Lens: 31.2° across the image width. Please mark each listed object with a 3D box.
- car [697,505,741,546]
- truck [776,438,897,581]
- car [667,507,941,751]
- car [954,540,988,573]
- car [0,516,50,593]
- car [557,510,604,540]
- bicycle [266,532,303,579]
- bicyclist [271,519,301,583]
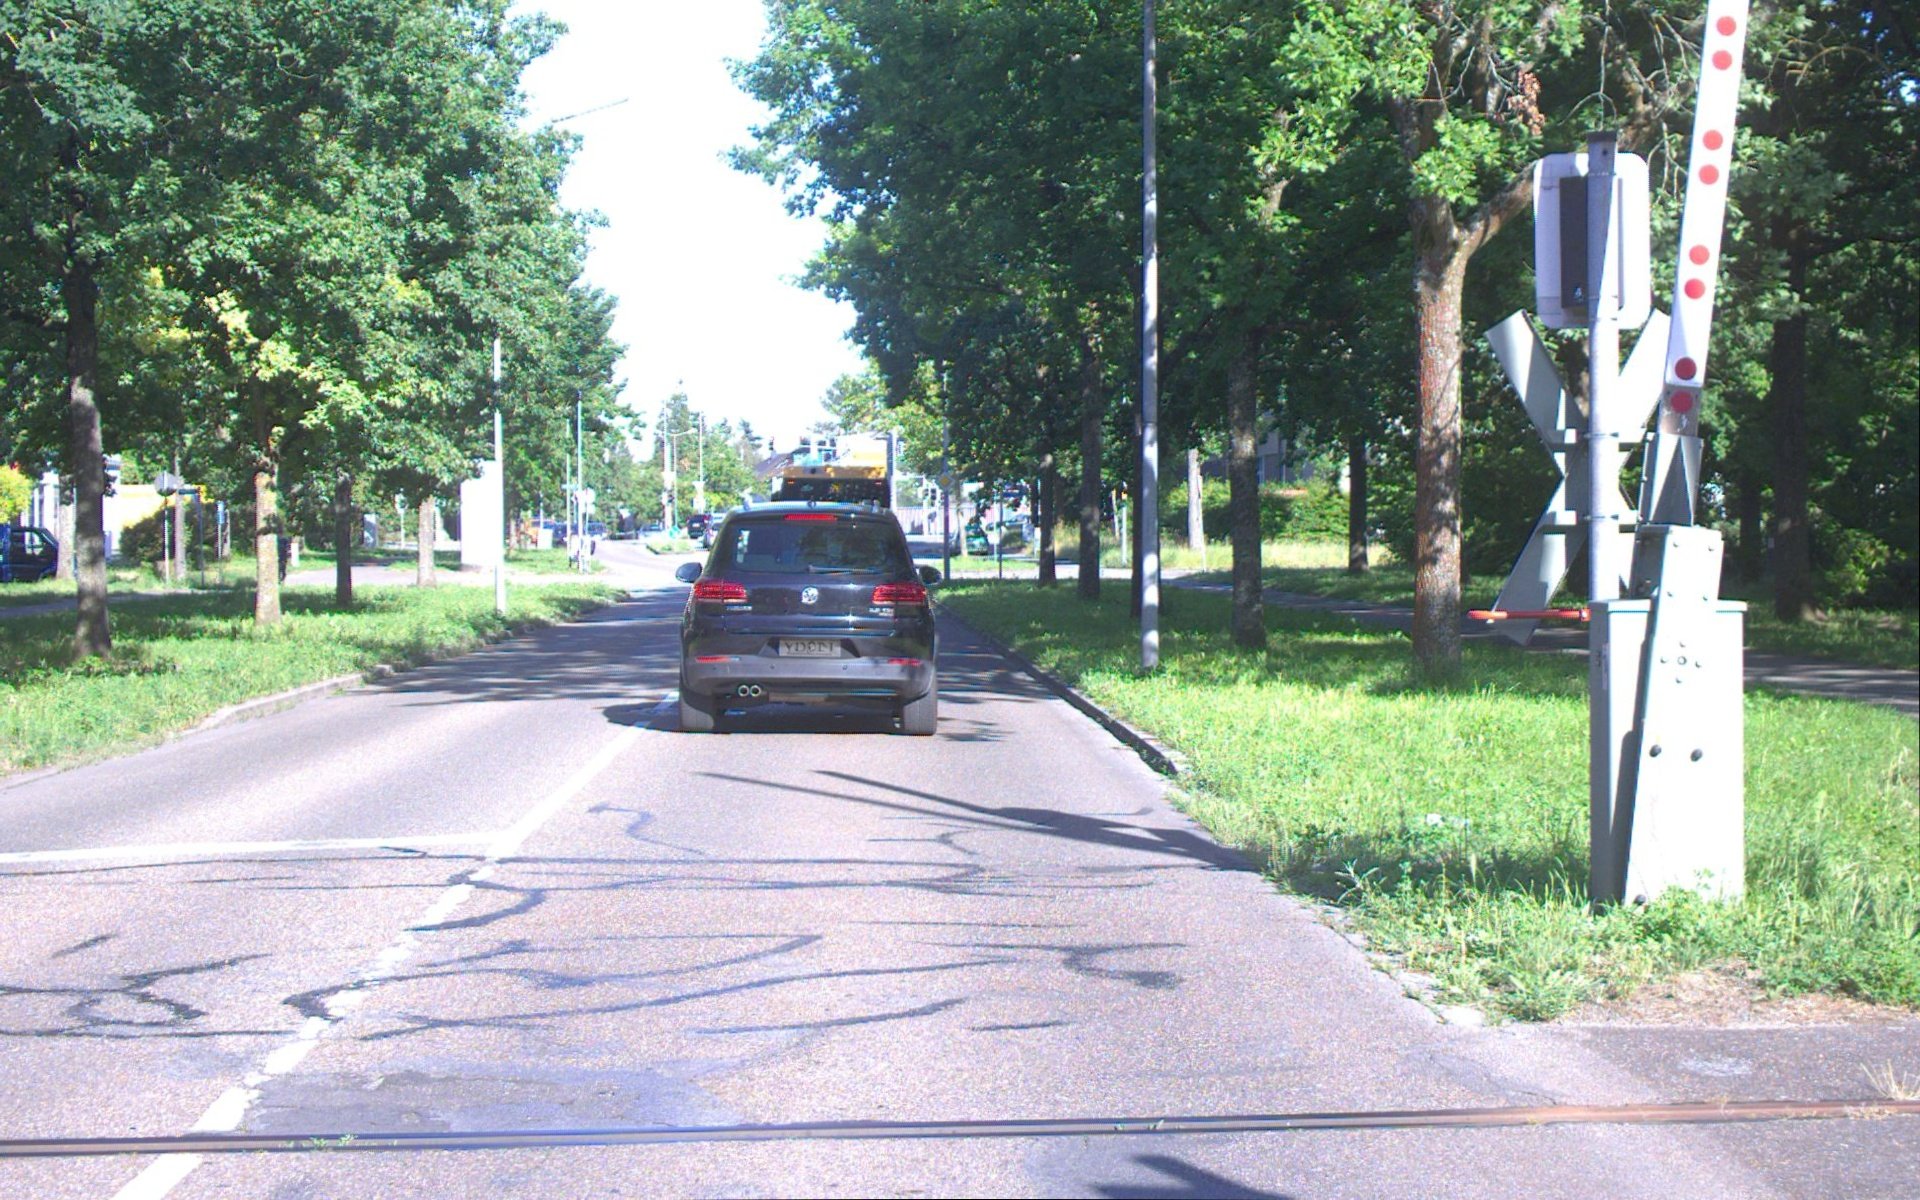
[{"bbox_3d":[-12.168,-3.770,173.342,1.993,2.007,4.001,1,1,-7],"label":"car"},{"bbox_3d":[-2.900,-2.179,82.552,2.512,3.232,8.153,-1,1,0],"label":"truck"},{"bbox_3d":[-1.081,0.148,25.554,1.782,1.628,4.000,1,1,1],"label":"car"},{"bbox_3d":[0.496,-1.976,154.862,1.452,1.401,2.856,1,1,-1],"label":"car"},{"bbox_3d":[-27.359,-1.274,91.716,5.788,2.007,2.001,1,1,-11],"label":"car"},{"bbox_3d":[-18.569,-3.677,168.367,1.993,1.450,4.001,0,1,-2],"label":"car"},{"bbox_3d":[-19.515,-1.292,99.343,0.717,1.317,1.992,1,1,-2],"label":"bicycle"},{"bbox_3d":[-19.500,-1.411,99.443,0.686,1.824,0.934,1,1,-2],"label":"bicyclist"}]
